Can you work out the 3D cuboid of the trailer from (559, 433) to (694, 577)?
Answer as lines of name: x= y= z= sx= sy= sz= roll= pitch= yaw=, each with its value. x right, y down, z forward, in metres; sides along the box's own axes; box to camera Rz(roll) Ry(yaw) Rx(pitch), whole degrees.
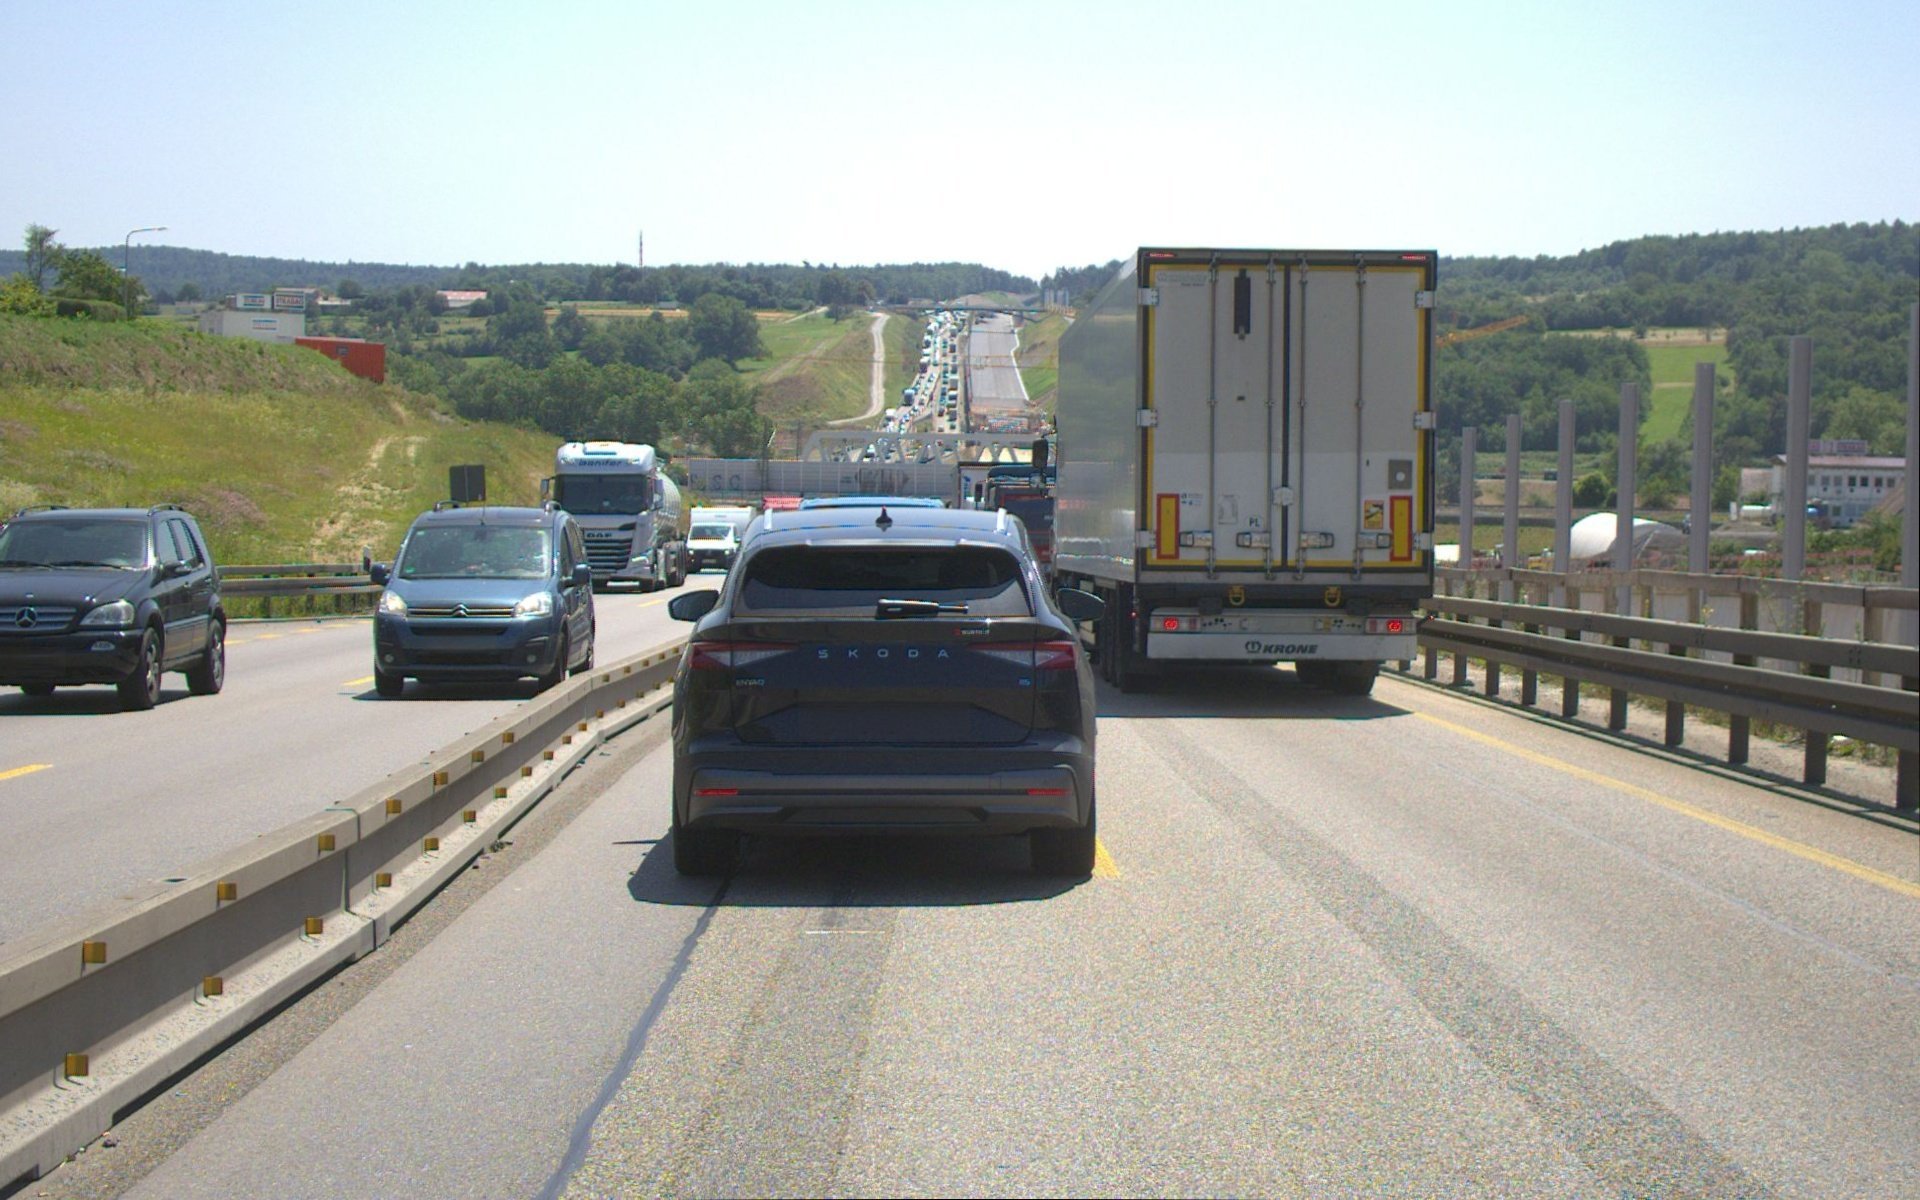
trailer: x=-8.843 y=-2.524 z=92.381 sx=2.716 sy=3.581 sz=11.796 roll=0 pitch=1 yaw=-1

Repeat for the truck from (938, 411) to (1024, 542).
truck: x=0.709 y=-4.483 z=127.843 sx=2.852 sy=4.450 sz=11.918 roll=0 pitch=0 yaw=-1

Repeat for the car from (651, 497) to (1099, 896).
car: x=-0.349 y=0.369 z=15.933 sx=1.802 sy=1.602 sz=4.000 roll=0 pitch=1 yaw=0

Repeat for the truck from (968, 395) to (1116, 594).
truck: x=1.875 y=-2.400 z=82.046 sx=3.180 sy=4.498 sz=8.166 roll=0 pitch=0 yaw=-1

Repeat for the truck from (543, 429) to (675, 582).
truck: x=-8.738 y=-2.360 z=86.280 sx=2.779 sy=3.660 sz=6.278 roll=0 pitch=1 yaw=-1

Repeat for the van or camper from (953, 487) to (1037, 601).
van or camper: x=1.087 y=-1.612 z=102.281 sx=2.389 sy=3.269 sz=6.468 roll=0 pitch=0 yaw=1

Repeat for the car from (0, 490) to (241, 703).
car: x=-7.776 y=-0.072 z=30.684 sx=1.828 sy=1.760 sz=4.497 roll=0 pitch=1 yaw=-1

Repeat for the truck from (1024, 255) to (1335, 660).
truck: x=2.535 y=-1.699 z=42.558 sx=3.180 sy=4.497 sz=8.166 roll=0 pitch=1 yaw=-1

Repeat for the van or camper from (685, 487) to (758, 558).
van or camper: x=-9.134 y=-2.985 z=132.141 sx=2.357 sy=2.667 sz=7.858 roll=0 pitch=1 yaw=-1

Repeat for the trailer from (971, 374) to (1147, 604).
trailer: x=1.968 y=-2.192 z=74.976 sx=3.180 sy=4.498 sz=14.967 roll=0 pitch=0 yaw=-1

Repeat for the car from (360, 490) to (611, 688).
car: x=-4.502 y=-0.153 z=33.270 sx=1.846 sy=1.771 sz=4.882 roll=0 pitch=1 yaw=-1

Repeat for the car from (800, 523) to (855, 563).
car: x=-4.904 y=-2.128 z=127.921 sx=1.912 sy=1.475 sz=4.637 roll=0 pitch=1 yaw=0

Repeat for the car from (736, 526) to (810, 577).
car: x=-5.395 y=-1.418 z=99.466 sx=1.895 sy=1.409 sz=4.679 roll=0 pitch=1 yaw=0

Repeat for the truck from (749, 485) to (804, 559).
truck: x=-10.869 y=-4.571 z=204.892 sx=2.852 sy=4.125 sz=11.918 roll=0 pitch=0 yaw=-1

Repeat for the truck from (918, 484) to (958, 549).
truck: x=-1.506 y=-5.571 z=231.458 sx=2.639 sy=4.179 sz=9.284 roll=0 pitch=0 yaw=-1

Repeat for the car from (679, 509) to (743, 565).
car: x=-9.060 y=-2.311 z=125.552 sx=1.993 sy=1.964 sz=5.343 roll=0 pitch=1 yaw=-1

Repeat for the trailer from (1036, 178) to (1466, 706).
trailer: x=2.640 y=-1.528 z=36.064 sx=3.180 sy=4.497 sz=13.110 roll=0 pitch=2 yaw=-1

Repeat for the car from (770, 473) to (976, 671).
car: x=-0.891 y=-0.278 z=35.865 sx=1.993 sy=1.919 sz=4.508 roll=0 pitch=0 yaw=-1
